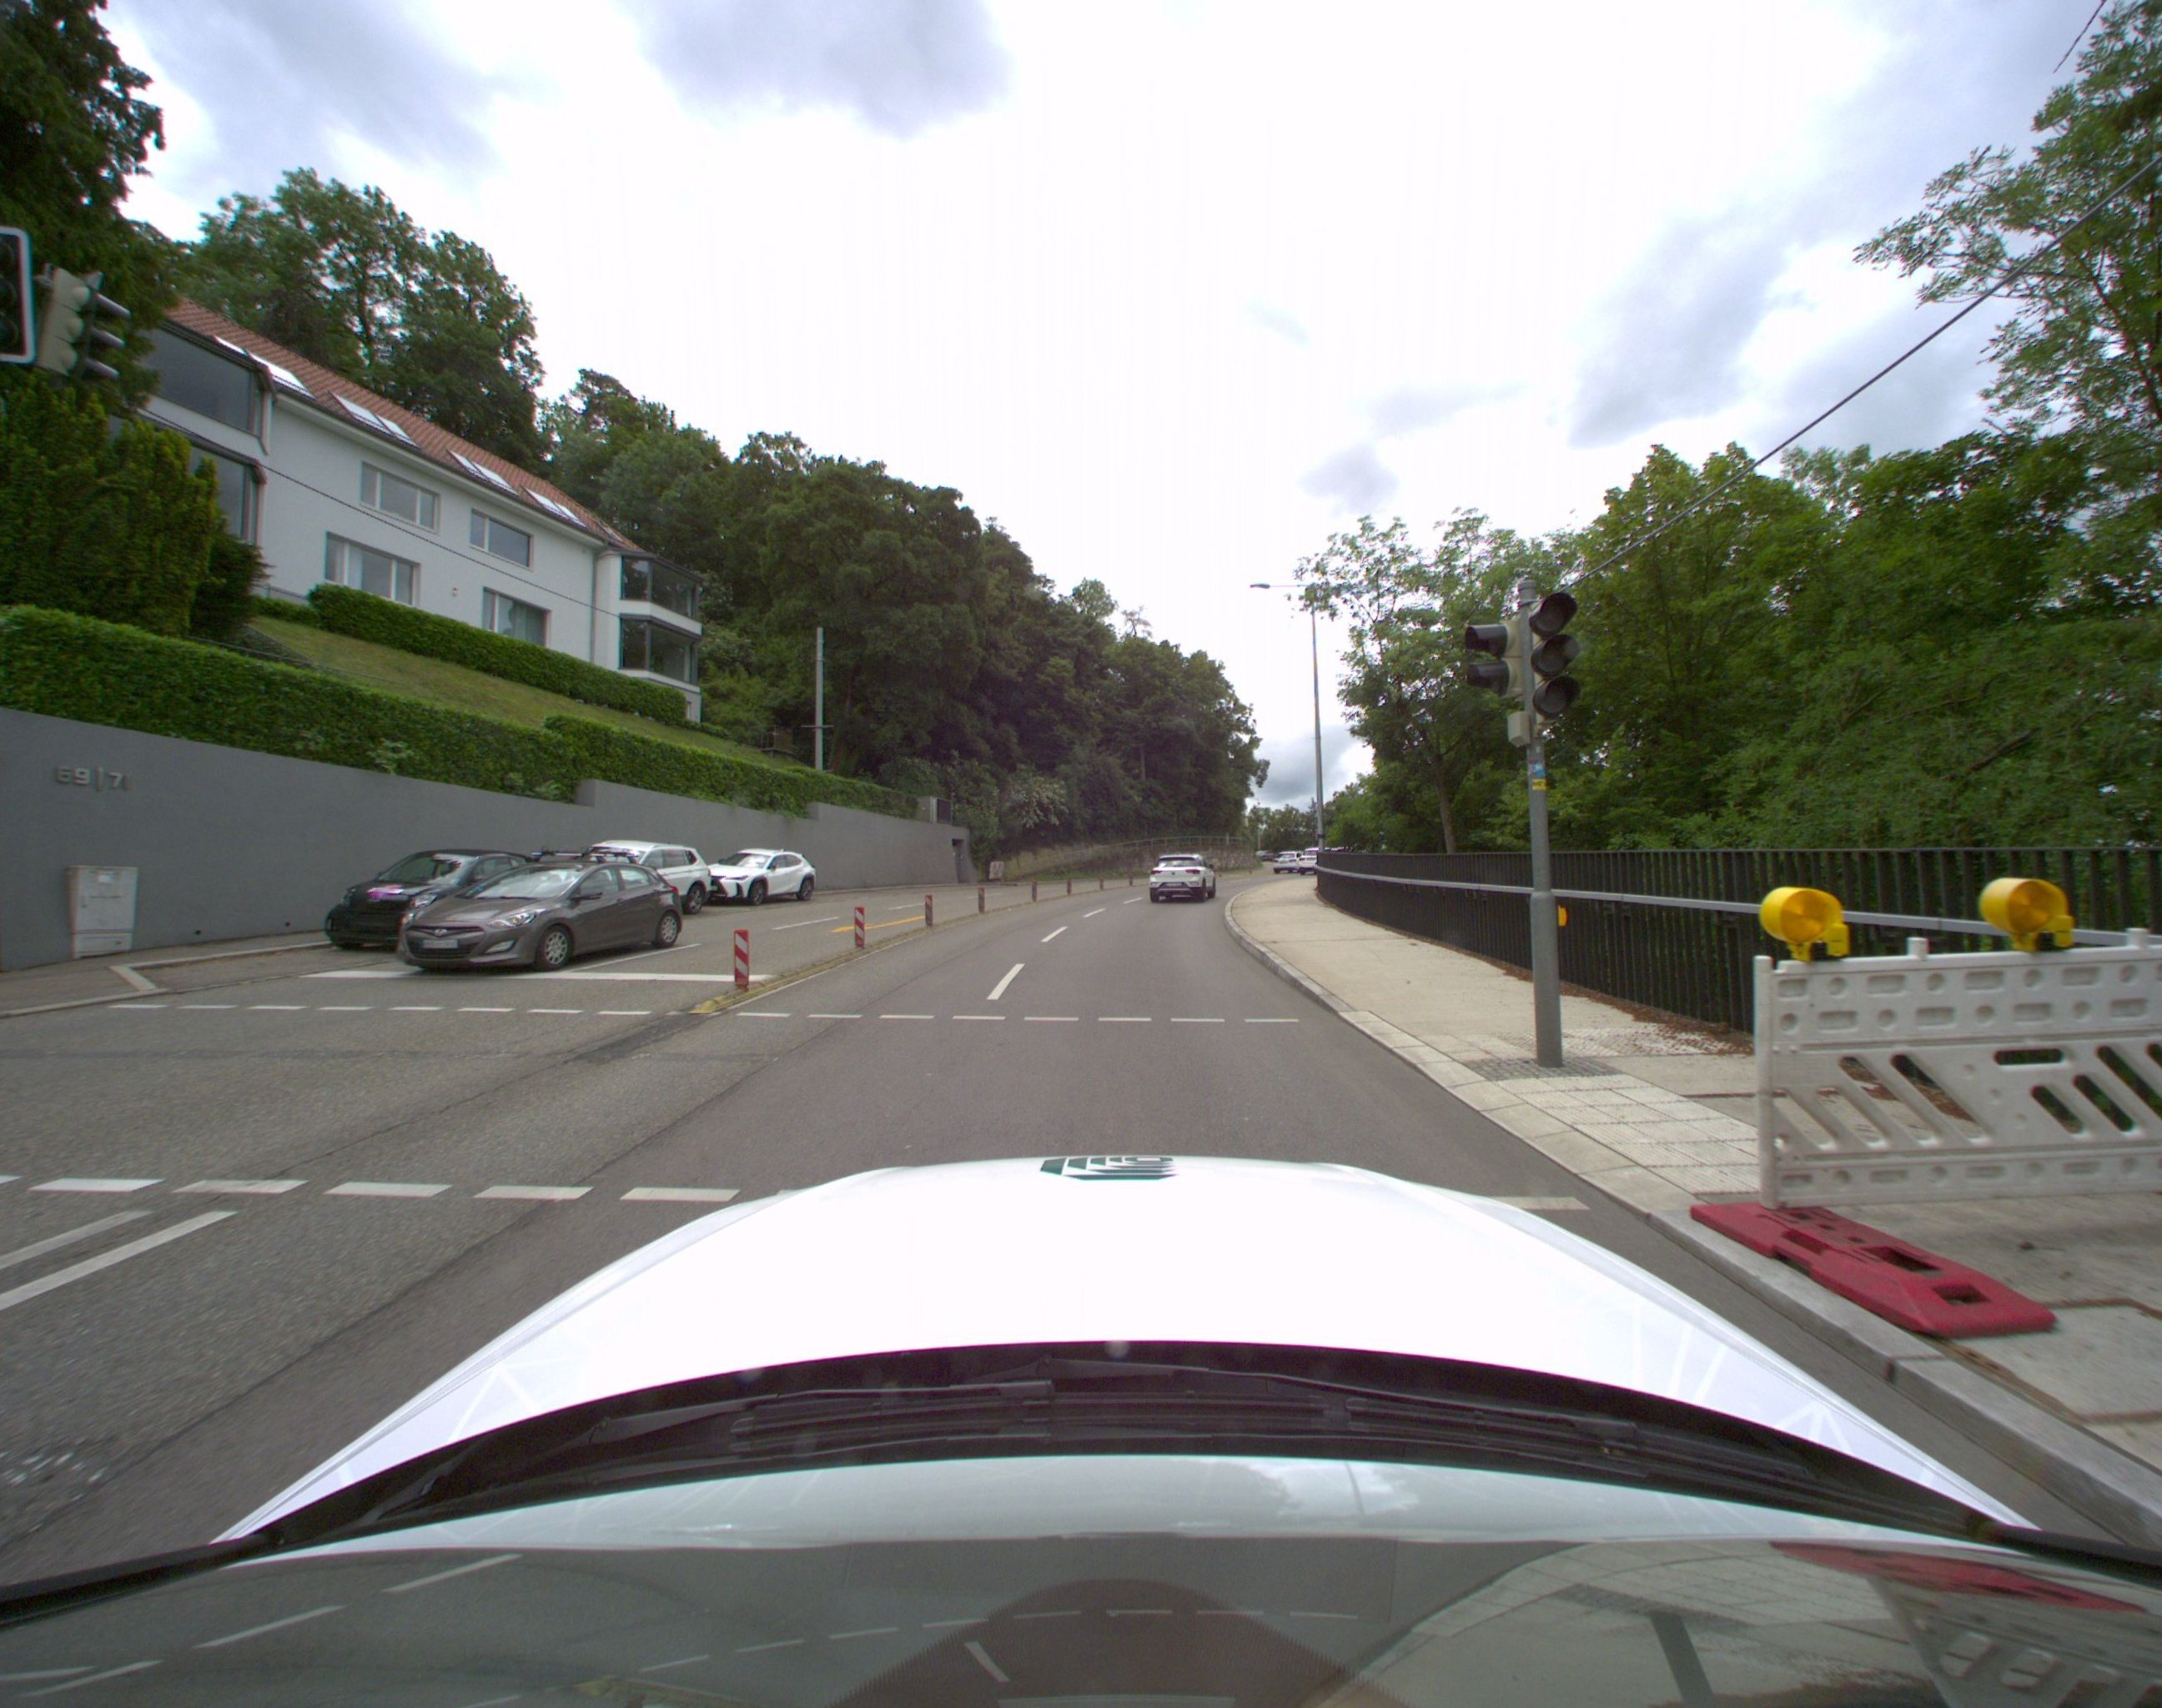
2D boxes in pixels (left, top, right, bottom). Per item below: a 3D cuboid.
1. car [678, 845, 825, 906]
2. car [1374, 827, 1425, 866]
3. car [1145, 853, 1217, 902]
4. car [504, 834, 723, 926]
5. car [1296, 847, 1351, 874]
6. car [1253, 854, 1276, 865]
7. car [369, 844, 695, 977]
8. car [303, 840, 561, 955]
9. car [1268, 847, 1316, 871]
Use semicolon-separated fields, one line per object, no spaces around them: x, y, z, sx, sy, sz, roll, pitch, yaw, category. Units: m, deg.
-9.512;0.595;23.972;1.821;1.572;4.488;1;0;11;car
22.807;-0.524;58.206;2.064;2.523;5.882;-4;-2;33;car
3.460;0.734;27.574;1.853;1.536;3.819;0;0;16;car
-10.187;0.516;18.286;1.851;1.731;4.766;2;0;4;car
15.237;0.408;51.063;1.974;1.586;4.025;1;-1;38;car
27.560;0.861;122.362;1.907;1.574;3.984;1;0;-11;car
-7.636;0.695;11.937;1.703;1.598;4.211;0;-1;4;car
-10.346;0.604;13.271;1.704;1.573;2.959;3;1;2;car
14.443;0.336;55.546;1.888;1.574;4.025;1;-1;35;car
